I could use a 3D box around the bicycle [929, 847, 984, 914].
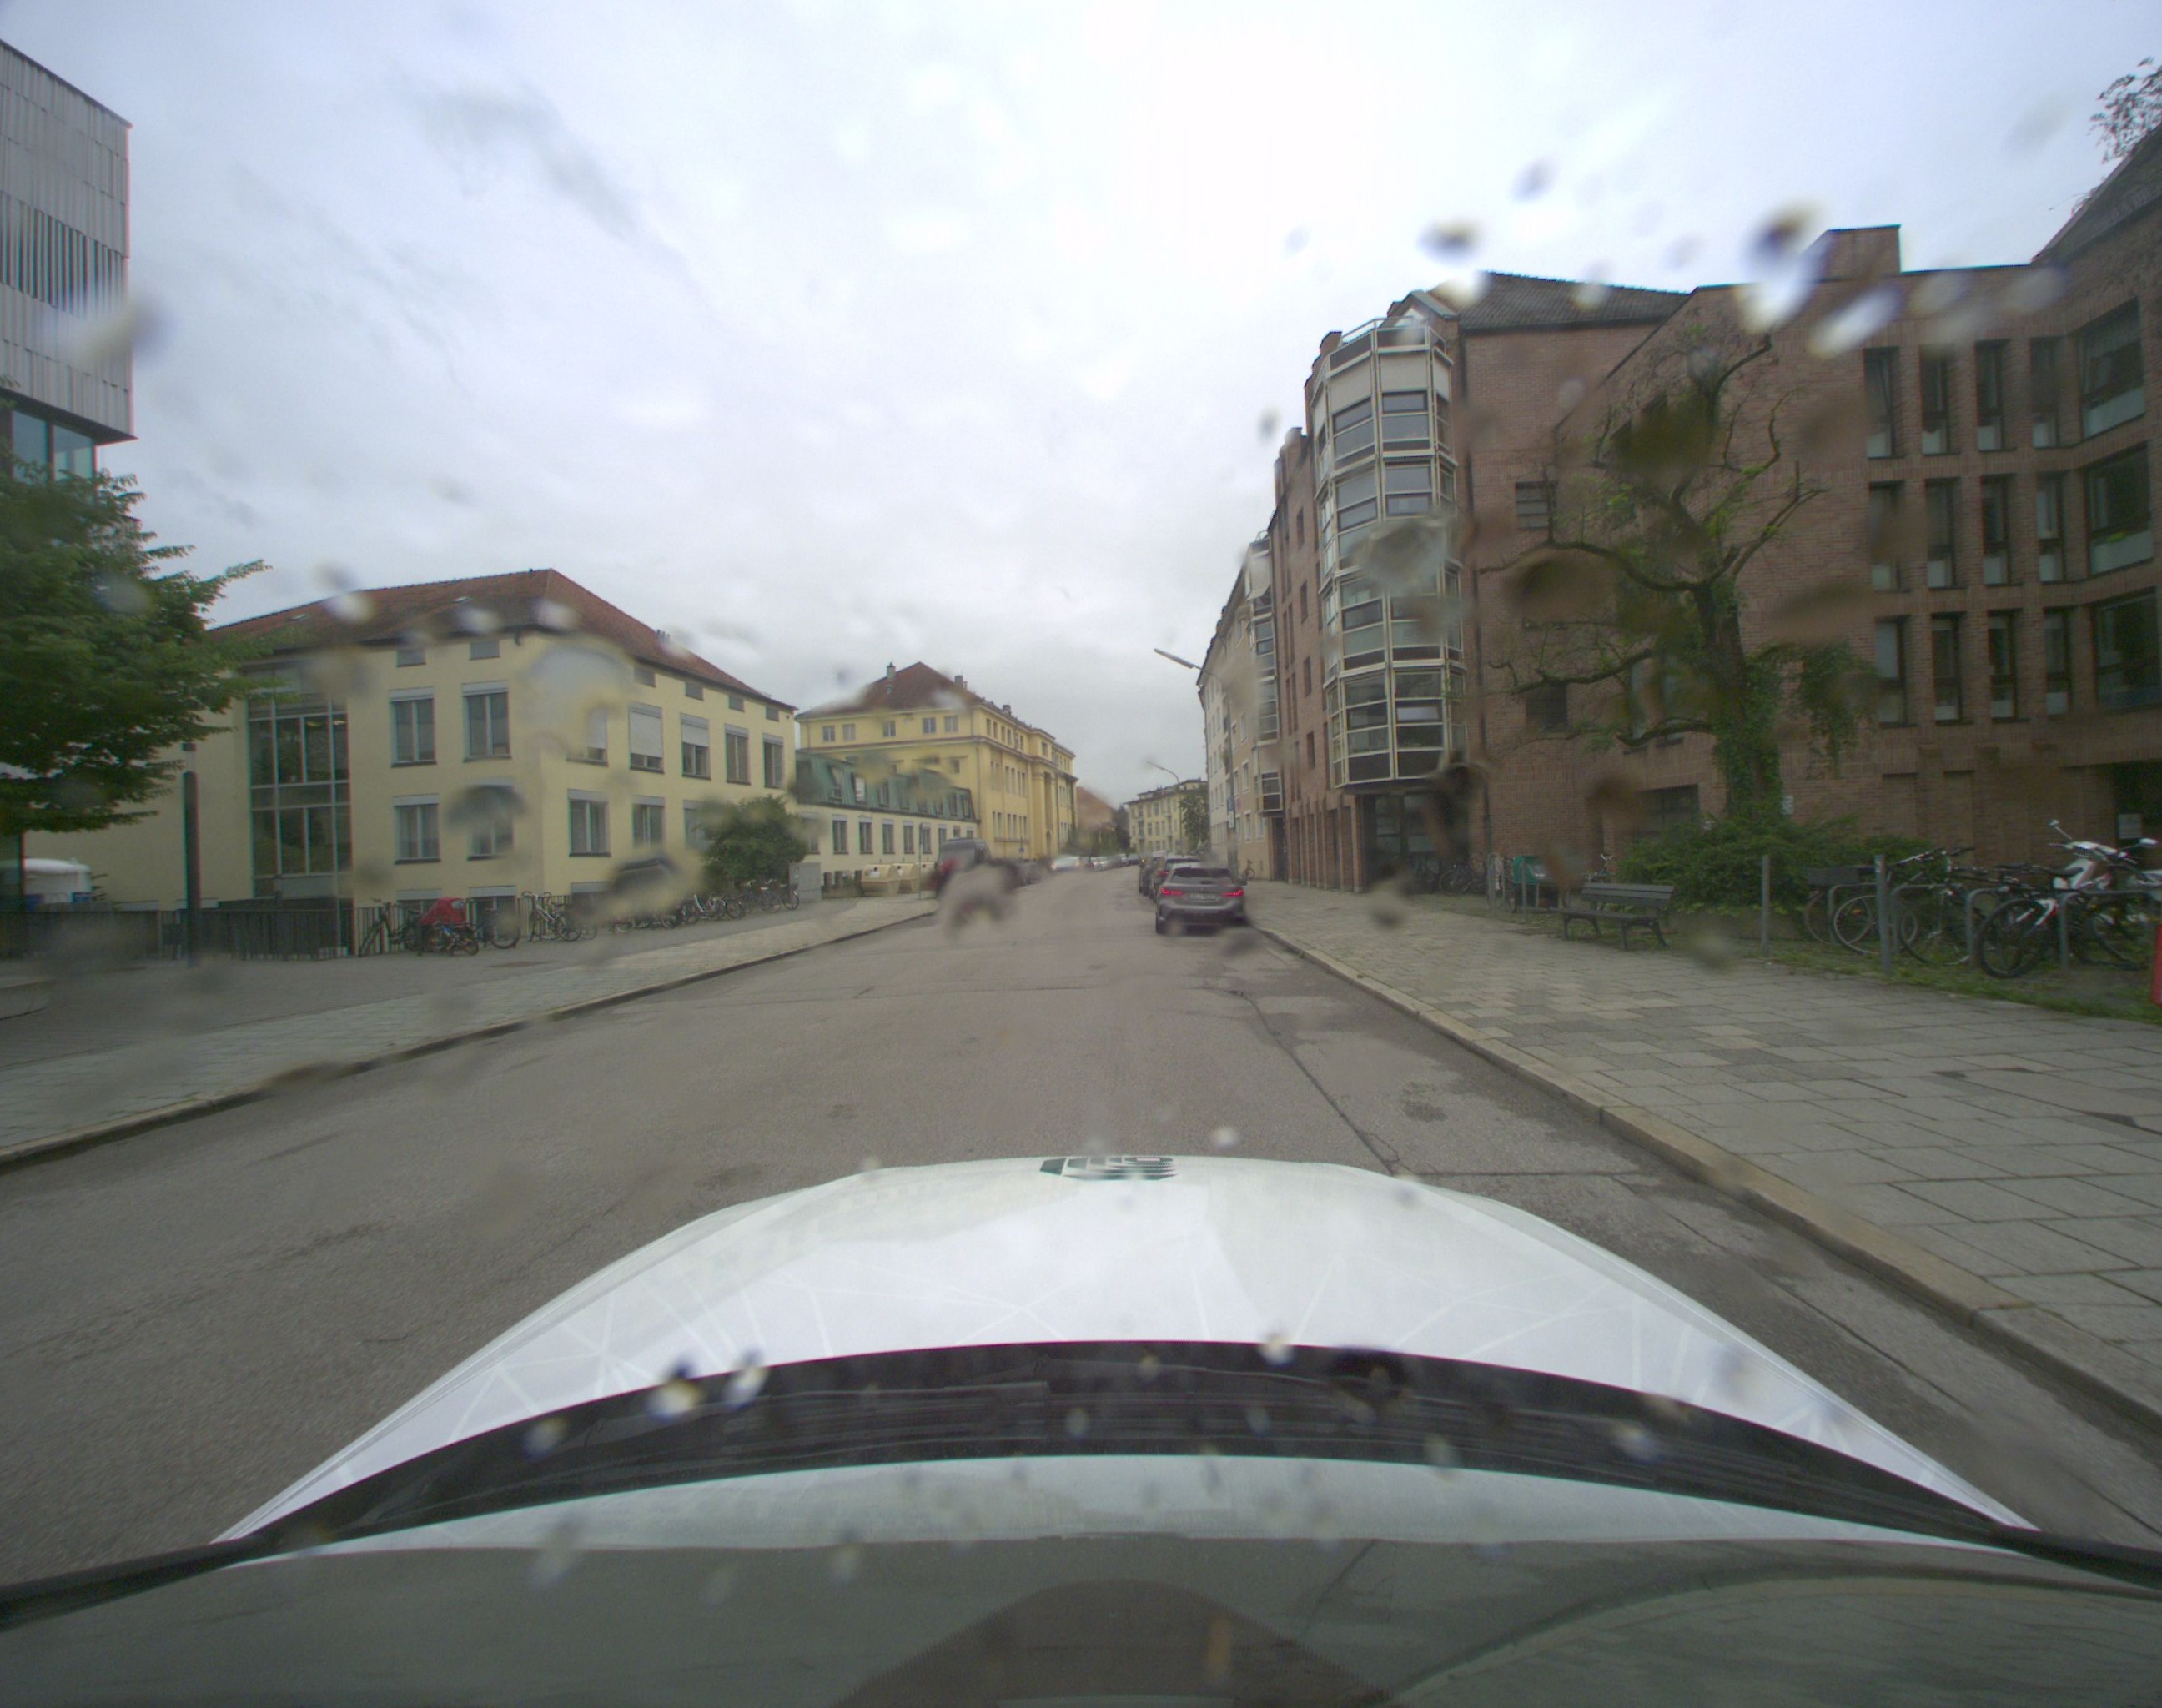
[{"bbox_3d":[-4.059,0.817,26.816,0.743,2.013,2.856,-5,0,10],"label":"bicycle"}]

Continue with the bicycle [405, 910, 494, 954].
[{"bbox_3d":[-13.250,1.629,17.097,1.708,0.862,0.440,-1,0,11],"label":"bicycle"}]

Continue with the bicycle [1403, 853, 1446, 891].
[{"bbox_3d":[10.008,0.508,23.817,0.484,1.060,1.997,-1,0,2],"label":"bicycle"}]

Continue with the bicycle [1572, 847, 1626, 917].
[{"bbox_3d":[9.127,0.469,14.331,1.369,1.173,0.416,-1,0,-41],"label":"bicycle"}]

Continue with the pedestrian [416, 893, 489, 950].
[{"bbox_3d":[-13.815,1.476,17.939,0.714,1.163,1.043,-1,0,9],"label":"pedestrian"}]

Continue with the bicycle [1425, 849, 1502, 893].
[{"bbox_3d":[10.347,0.452,22.063,1.836,1.147,0.489,-1,0,10],"label":"bicycle"}]

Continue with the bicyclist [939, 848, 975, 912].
[{"bbox_3d":[-4.069,0.851,26.745,0.762,2.013,0.770,-6,-1,10],"label":"bicyclist"}]

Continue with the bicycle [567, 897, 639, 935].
[{"bbox_3d":[-12.574,1.620,21.436,1.662,0.916,0.597,-1,0,14],"label":"bicycle"}]

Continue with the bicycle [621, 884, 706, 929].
[{"bbox_3d":[-12.192,1.538,23.767,2.535,1.206,0.426,-3,0,14],"label":"bicycle"}]

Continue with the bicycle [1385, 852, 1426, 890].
[{"bbox_3d":[9.463,0.489,23.824,0.484,1.060,1.997,-1,-1,2],"label":"bicycle"}]

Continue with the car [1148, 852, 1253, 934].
[{"bbox_3d":[2.413,0.744,17.412,1.916,1.512,4.397,-1,0,5],"label":"car"}]

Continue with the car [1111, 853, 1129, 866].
[{"bbox_3d":[4.930,0.646,102.668,1.983,1.548,4.009,-1,1,7],"label":"car"}]

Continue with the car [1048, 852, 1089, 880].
[{"bbox_3d":[-0.770,0.804,53.675,2.016,1.621,4.512,-4,-2,6],"label":"car"}]

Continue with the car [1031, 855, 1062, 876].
[{"bbox_3d":[-2.716,0.909,64.822,1.763,1.550,3.786,-1,0,7],"label":"car"}]

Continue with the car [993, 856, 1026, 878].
[{"bbox_3d":[-5.793,1.041,66.537,1.708,1.660,3.759,-1,0,11],"label":"car"}]

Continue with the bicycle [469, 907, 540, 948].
[{"bbox_3d":[-12.789,1.630,18.063,1.363,0.862,0.440,-1,0,11],"label":"bicycle"}]

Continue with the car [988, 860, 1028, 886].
[{"bbox_3d":[-4.456,1.112,49.946,1.690,1.453,3.748,-1,1,7],"label":"car"}]

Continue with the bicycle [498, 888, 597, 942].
[{"bbox_3d":[-12.985,1.467,19.847,2.089,1.227,0.790,-1,0,14],"label":"bicycle"}]

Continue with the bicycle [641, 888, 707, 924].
[{"bbox_3d":[-12.213,1.558,24.427,1.853,1.029,0.542,-1,0,14],"label":"bicycle"}]

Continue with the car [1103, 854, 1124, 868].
[{"bbox_3d":[3.707,0.787,93.147,1.983,1.548,4.009,-1,1,7],"label":"car"}]

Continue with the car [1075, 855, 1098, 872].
[{"bbox_3d":[0.540,0.855,74.584,1.688,1.444,3.516,-1,0,8],"label":"car"}]

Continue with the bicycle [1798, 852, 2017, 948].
[{"bbox_3d":[8.758,0.480,8.675,1.692,0.965,0.547,-1,0,5],"label":"bicycle"}]

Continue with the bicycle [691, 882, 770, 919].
[{"bbox_3d":[-11.471,1.511,26.631,2.468,1.141,0.639,-1,0,14],"label":"bicycle"}]

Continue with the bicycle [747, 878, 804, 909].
[{"bbox_3d":[-11.302,1.469,30.121,1.890,1.092,0.680,-1,0,14],"label":"bicycle"}]

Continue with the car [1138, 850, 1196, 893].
[{"bbox_3d":[3.423,0.660,33.294,1.957,1.602,4.672,-1,1,1],"label":"car"}]

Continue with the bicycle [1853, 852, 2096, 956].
[{"bbox_3d":[8.728,0.476,8.002,1.692,0.965,0.547,-1,0,5],"label":"bicycle"}]

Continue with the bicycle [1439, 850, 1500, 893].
[{"bbox_3d":[10.718,0.479,22.500,1.467,1.147,0.384,-1,0,10],"label":"bicycle"}]

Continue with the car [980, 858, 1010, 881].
[{"bbox_3d":[-6.593,1.160,62.668,1.595,1.660,2.817,-1,0,11],"label":"car"}]

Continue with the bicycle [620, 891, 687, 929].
[{"bbox_3d":[-12.120,1.569,23.070,1.777,1.033,0.509,-1,0,14],"label":"bicycle"}]

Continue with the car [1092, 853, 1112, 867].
[{"bbox_3d":[2.308,0.621,87.575,1.688,1.444,3.517,-1,1,9],"label":"car"}]

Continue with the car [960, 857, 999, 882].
[{"bbox_3d":[-7.348,1.124,59.080,1.708,1.660,3.759,-1,0,11],"label":"car"}]

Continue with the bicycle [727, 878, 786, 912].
[{"bbox_3d":[-11.329,1.423,28.434,1.942,1.131,0.575,-1,0,14],"label":"bicycle"}]

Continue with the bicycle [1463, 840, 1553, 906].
[{"bbox_3d":[8.738,0.402,16.780,0.532,1.248,2.412,-1,-2,-1],"label":"bicycle"}]

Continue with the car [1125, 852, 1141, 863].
[{"bbox_3d":[7.415,0.471,115.950,1.983,1.548,4.009,-1,1,7],"label":"car"}]

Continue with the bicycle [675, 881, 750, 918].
[{"bbox_3d":[-11.678,1.427,25.827,2.293,1.135,0.584,-1,0,14],"label":"bicycle"}]

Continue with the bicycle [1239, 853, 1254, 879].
[{"bbox_3d":[8.785,0.618,43.311,0.466,1.288,2.679,-1,0,6],"label":"bicycle"}]

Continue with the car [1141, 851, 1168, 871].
[{"bbox_3d":[5.332,0.532,59.461,1.879,1.410,4.436,-1,-1,4],"label":"car"}]

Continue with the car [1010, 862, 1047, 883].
[{"bbox_3d":[-3.488,1.222,54.663,1.518,1.202,3.754,-1,1,12],"label":"car"}]

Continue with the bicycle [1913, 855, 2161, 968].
[{"bbox_3d":[8.673,0.504,7.341,1.692,0.965,0.547,-1,0,5],"label":"bicycle"}]

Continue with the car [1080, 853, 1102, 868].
[{"bbox_3d":[1.022,0.637,80.161,1.688,1.444,3.517,-1,1,9],"label":"car"}]

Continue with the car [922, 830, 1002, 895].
[{"bbox_3d":[-5.467,0.437,38.417,2.412,2.715,5.957,-4,-1,3],"label":"car"}]

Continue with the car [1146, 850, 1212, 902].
[{"bbox_3d":[3.276,0.683,28.025,1.823,1.602,4.267,-1,1,1],"label":"car"}]
